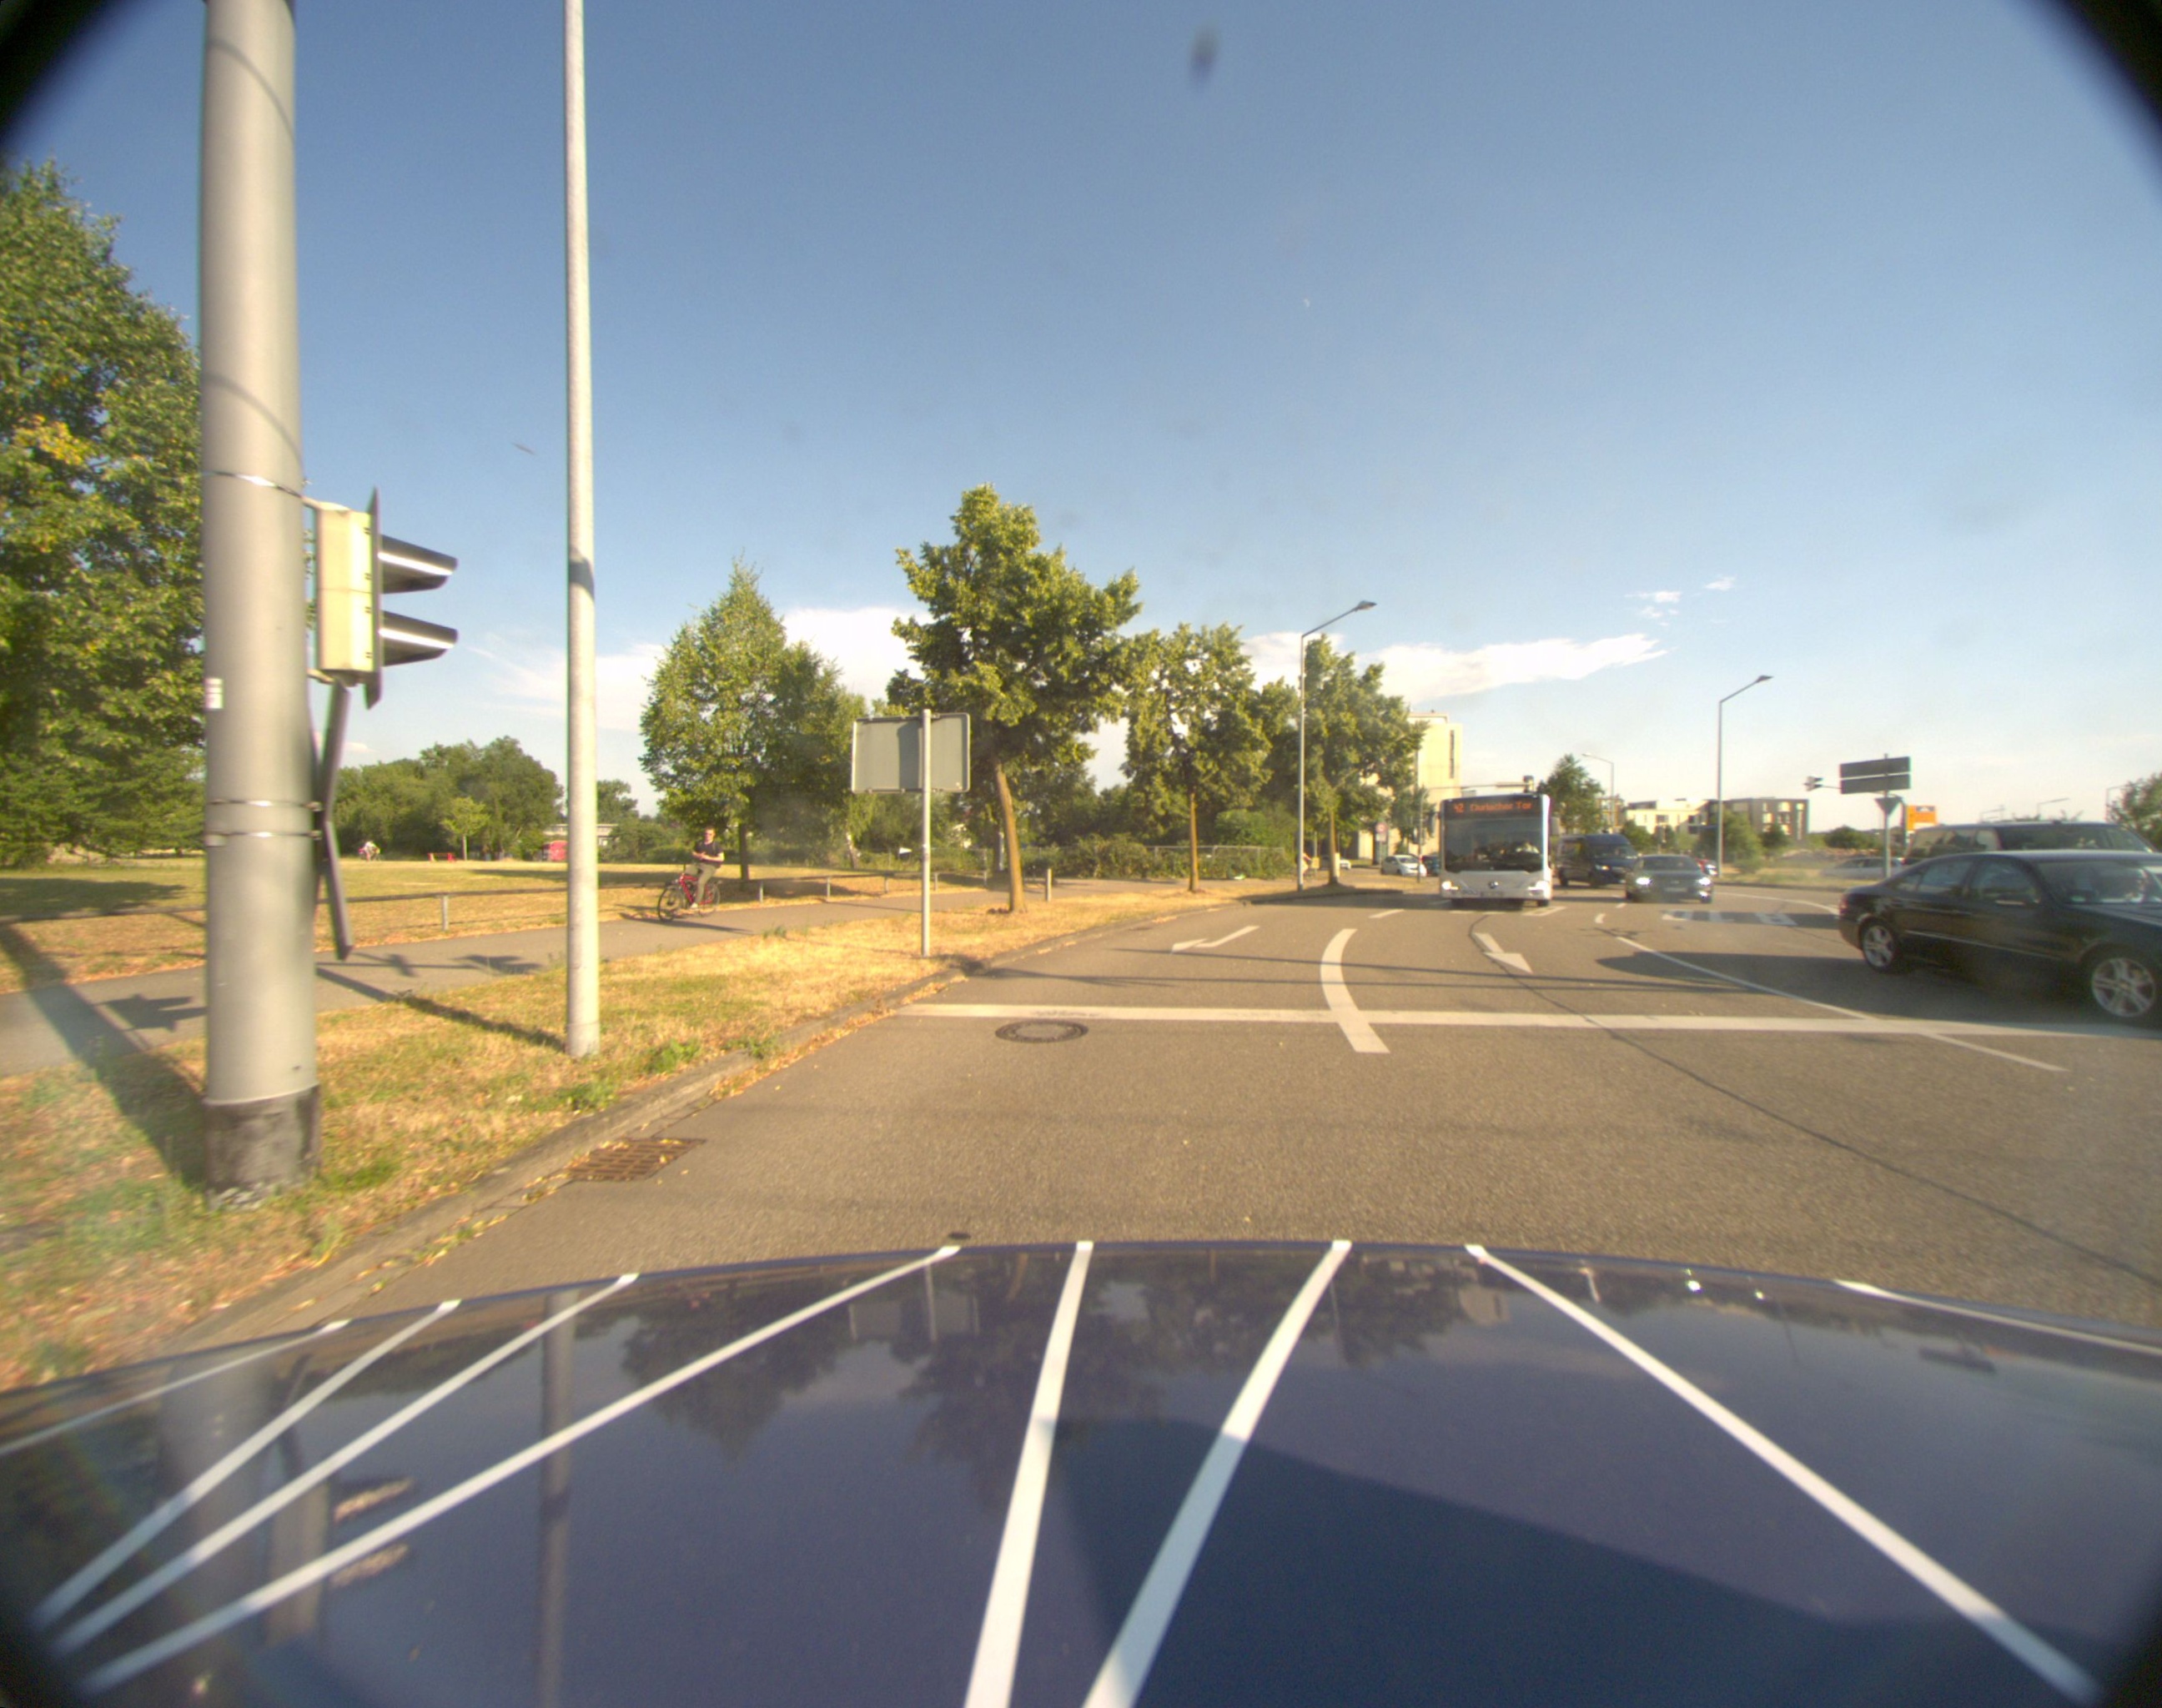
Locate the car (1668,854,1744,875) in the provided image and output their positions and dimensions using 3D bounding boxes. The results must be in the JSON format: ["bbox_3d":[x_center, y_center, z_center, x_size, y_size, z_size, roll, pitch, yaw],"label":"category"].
[{"bbox_3d":[43.260,0.689,52.687,1.482,1.341,3.823,0,1,-22],"label":"car"}]

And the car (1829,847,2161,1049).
[{"bbox_3d":[9.636,0.711,7.166,1.808,1.428,4.498,-2,1,17],"label":"car"}]

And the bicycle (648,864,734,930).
[{"bbox_3d":[-7.652,0.808,15.015,0.415,1.152,1.892,1,1,11],"label":"bicycle"}]

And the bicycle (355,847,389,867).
[{"bbox_3d":[-53.722,0.211,57.565,1.943,1.441,0.392,-2,1,-7],"label":"bicycle"}]

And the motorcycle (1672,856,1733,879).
[{"bbox_3d":[28.239,0.598,34.596,0.954,0.956,2.893,0,1,13],"label":"motorcycle"}]

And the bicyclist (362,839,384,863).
[{"bbox_3d":[-53.645,-0.211,57.587,0.928,1.769,0.637,-2,1,-7],"label":"bicyclist"}]

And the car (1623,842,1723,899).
[{"bbox_3d":[17.799,0.449,23.041,1.807,1.501,4.169,-1,1,30],"label":"car"}]

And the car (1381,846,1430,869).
[{"bbox_3d":[22.765,0.242,53.444,1.585,1.553,3.625,0,0,-6],"label":"car"}]

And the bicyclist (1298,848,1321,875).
[{"bbox_3d":[11.562,0.366,38.466,0.982,1.355,0.557,-1,1,-29],"label":"bicyclist"}]

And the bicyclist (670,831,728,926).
[{"bbox_3d":[-7.601,0.473,15.136,0.620,1.819,0.831,2,1,11],"label":"bicyclist"}]

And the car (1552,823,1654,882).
[{"bbox_3d":[24.480,-0.136,35.941,1.978,2.503,5.914,-2,1,14],"label":"car"}]

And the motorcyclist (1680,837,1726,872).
[{"bbox_3d":[28.174,0.002,34.435,1.040,1.581,1.441,0,1,12],"label":"motorcyclist"}]

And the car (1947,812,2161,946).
[{"bbox_3d":[16.922,0.292,12.821,1.857,1.921,5.022,-1,1,34],"label":"car"}]

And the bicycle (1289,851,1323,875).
[{"bbox_3d":[11.366,0.457,38.383,1.832,1.149,0.491,0,-3,-29],"label":"bicycle"}]

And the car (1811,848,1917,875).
[{"bbox_3d":[45.216,0.392,43.968,1.659,1.516,3.934,0,0,-27],"label":"car"}]

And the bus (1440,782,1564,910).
[{"bbox_3d":[13.389,-0.267,23.523,2.589,3.025,11.742,-1,1,33],"label":"bus"}]

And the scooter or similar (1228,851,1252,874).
[{"bbox_3d":[7.904,0.418,37.761,1.172,1.153,0.342,0,1,-28],"label":"scooter or similar"}]
